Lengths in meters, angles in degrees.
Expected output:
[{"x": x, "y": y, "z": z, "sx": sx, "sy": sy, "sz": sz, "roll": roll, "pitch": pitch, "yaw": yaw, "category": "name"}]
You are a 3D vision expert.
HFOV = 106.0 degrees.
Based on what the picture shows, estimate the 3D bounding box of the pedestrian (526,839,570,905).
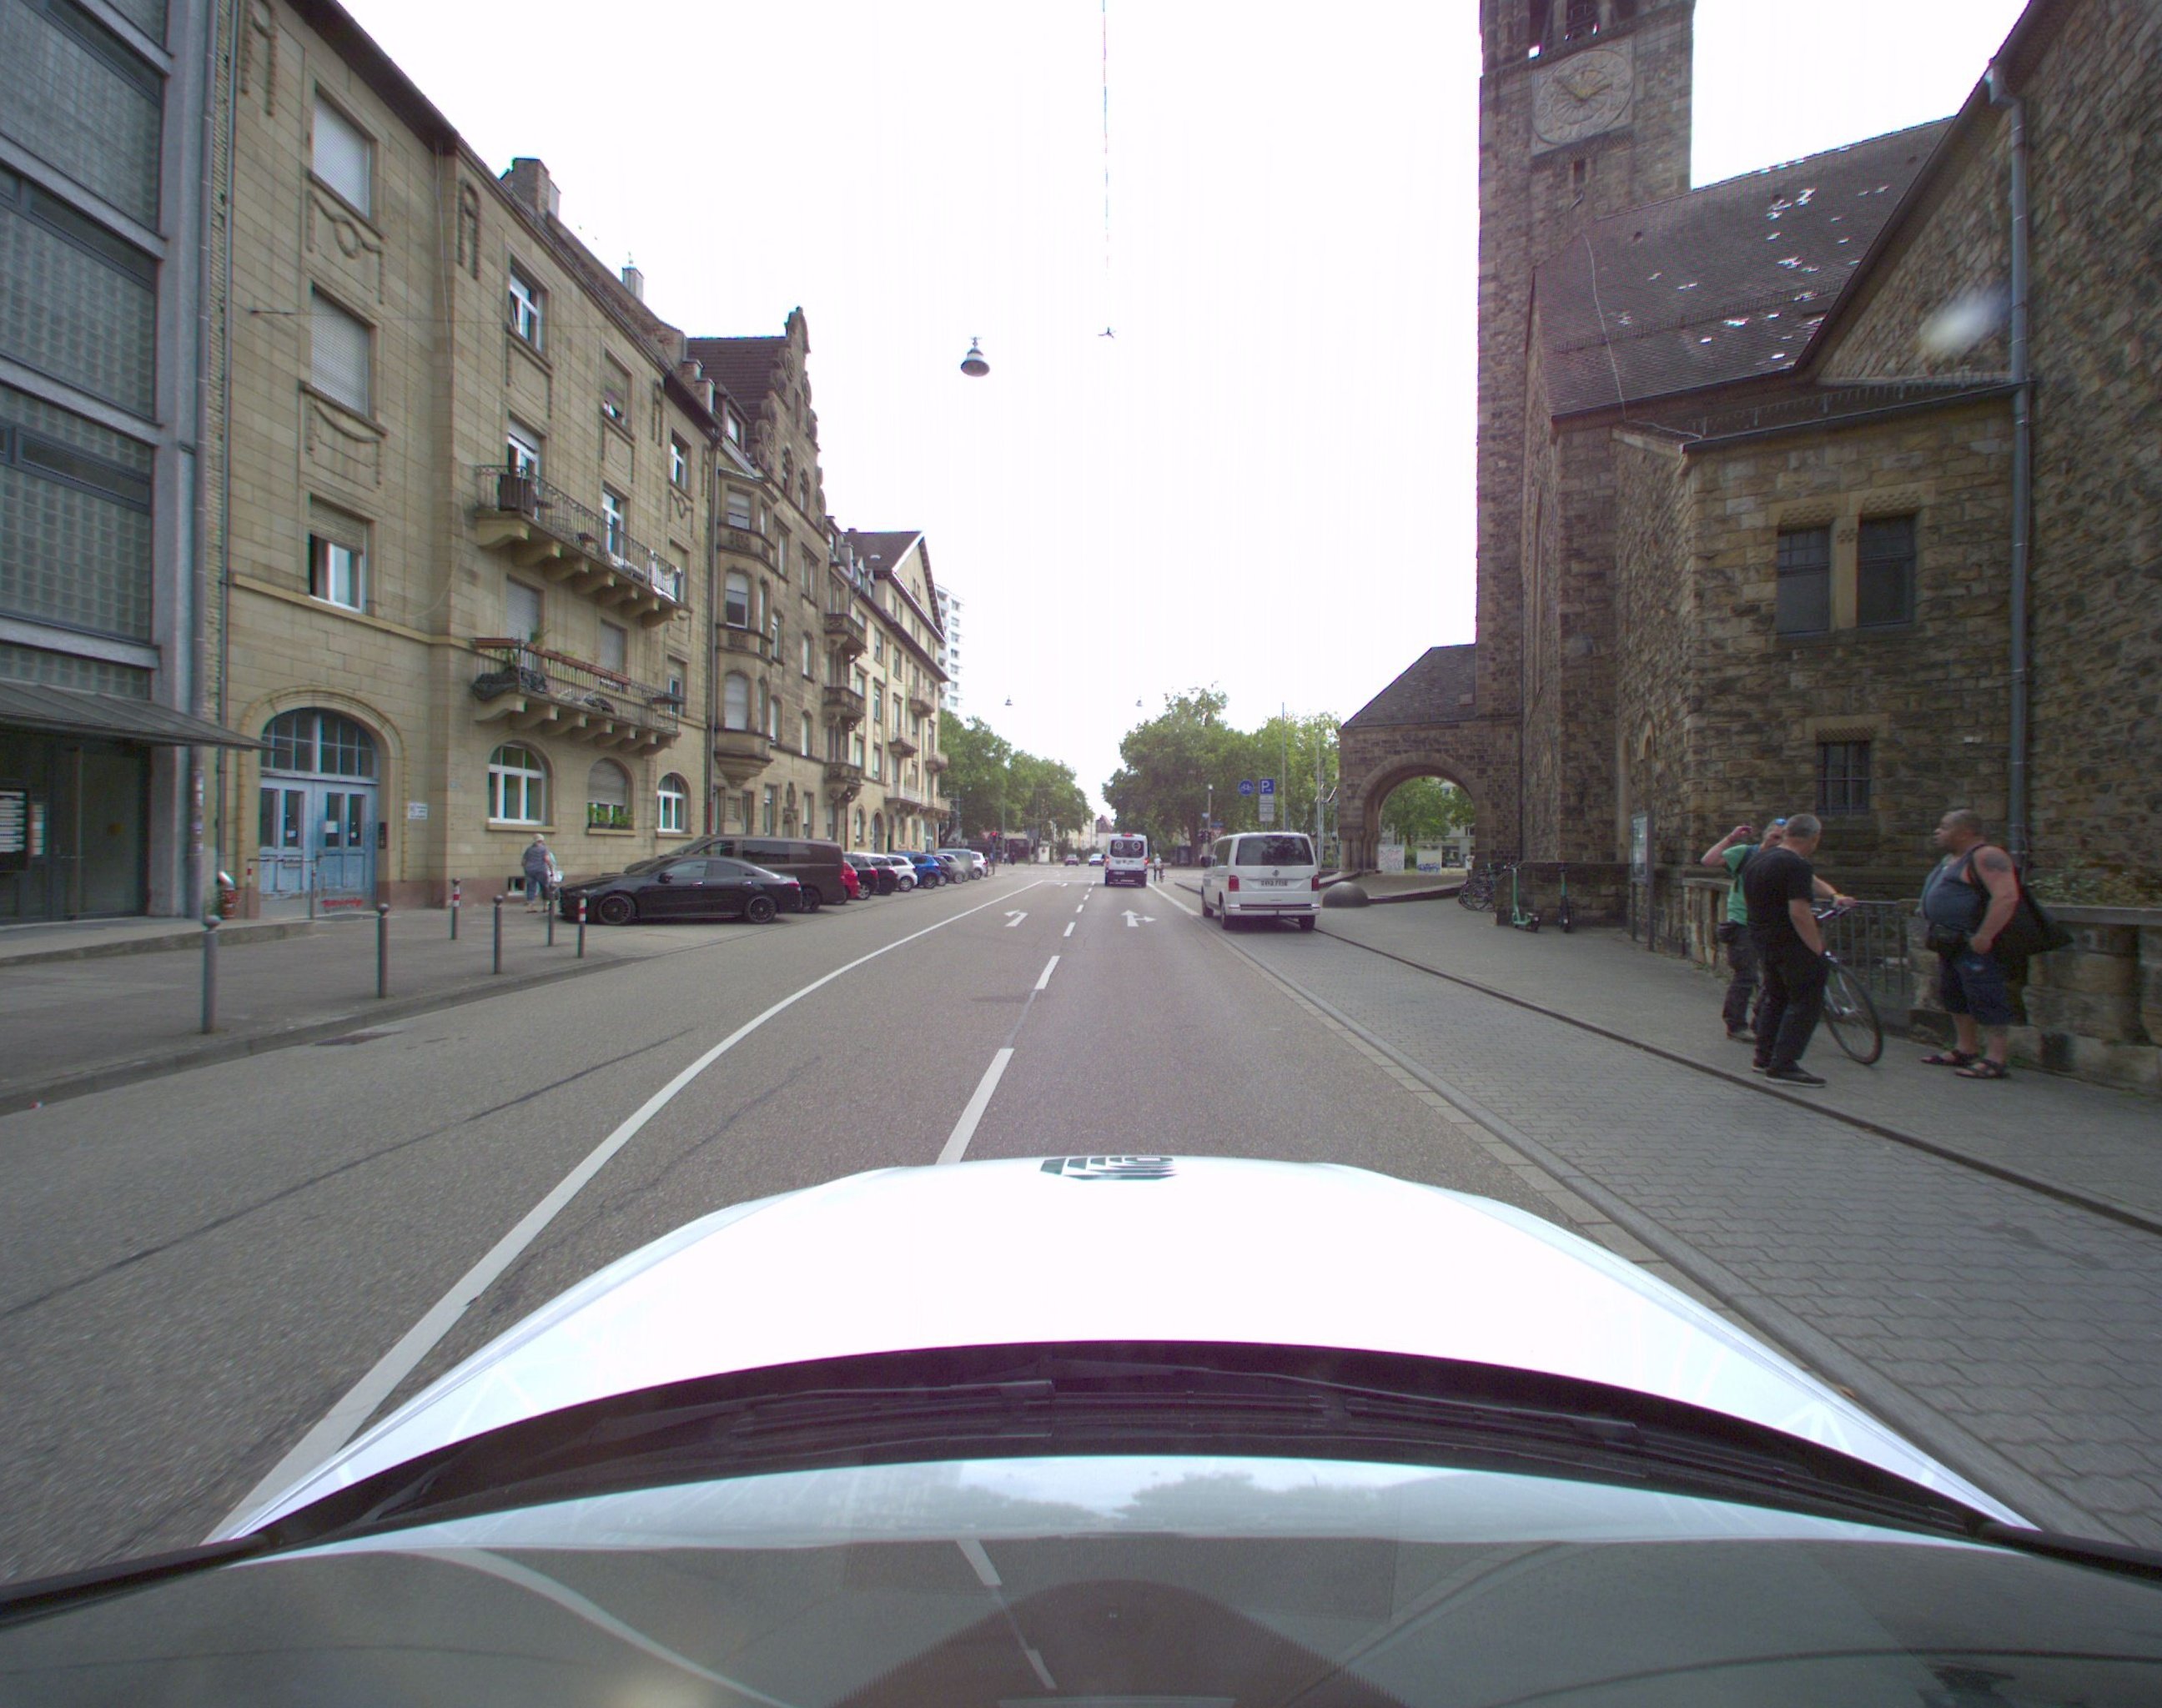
[{"x": -12.141, "y": 0.410, "z": 18.565, "sx": 0.658, "sy": 1.485, "sz": 0.509, "roll": 0, "pitch": 0, "yaw": -1, "category": "pedestrian"}]

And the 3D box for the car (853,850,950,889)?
[{"x": -7.895, "y": 0.663, "z": 35.892, "sx": 3.793, "sy": 1.652, "sz": 1.706, "roll": 1, "pitch": 0, "yaw": -35, "category": "car"}]

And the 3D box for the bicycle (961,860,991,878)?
[{"x": -6.645, "y": 0.921, "z": 51.442, "sx": 1.799, "sy": 1.120, "sz": 0.595, "roll": 0, "pitch": -1, "yaw": 8, "category": "bicycle"}]

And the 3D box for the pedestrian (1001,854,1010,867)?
[{"x": -9.109, "y": 0.738, "z": 98.200, "sx": 0.801, "sy": 1.572, "sz": 0.727, "roll": 0, "pitch": 0, "yaw": 16, "category": "pedestrian"}]

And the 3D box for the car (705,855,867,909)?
[{"x": -8.430, "y": 0.757, "z": 23.444, "sx": 4.032, "sy": 1.409, "sz": 1.776, "roll": 1, "pitch": 0, "yaw": -39, "category": "car"}]

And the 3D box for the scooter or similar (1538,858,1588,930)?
[{"x": 8.612, "y": 0.681, "z": 14.581, "sx": 0.539, "sy": 1.207, "sz": 1.489, "roll": 0, "pitch": 0, "yaw": 22, "category": "scooter or similar"}]

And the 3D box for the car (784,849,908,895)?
[{"x": -8.490, "y": 0.627, "z": 29.466, "sx": 4.024, "sy": 1.564, "sz": 1.779, "roll": 0, "pitch": 0, "yaw": -30, "category": "car"}]

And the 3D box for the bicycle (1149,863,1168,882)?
[{"x": 4.475, "y": 1.071, "z": 47.222, "sx": 0.900, "sy": 1.075, "sz": 1.969, "roll": 0, "pitch": 0, "yaw": -1, "category": "bicycle"}]

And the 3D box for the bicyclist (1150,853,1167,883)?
[{"x": 4.487, "y": 0.805, "z": 47.224, "sx": 0.901, "sy": 1.683, "sz": 0.756, "roll": 0, "pitch": 0, "yaw": -1, "category": "bicyclist"}]

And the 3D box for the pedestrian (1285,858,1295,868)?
[{"x": 26.827, "y": 1.155, "z": 104.494, "sx": 1.085, "sy": 1.236, "sz": 1.443, "roll": -2, "pitch": -1, "yaw": 6, "category": "pedestrian"}]

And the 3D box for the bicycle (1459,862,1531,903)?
[{"x": 11.666, "y": 0.798, "z": 22.979, "sx": 1.761, "sy": 1.112, "sz": 0.549, "roll": 0, "pitch": 0, "yaw": 20, "category": "bicycle"}]

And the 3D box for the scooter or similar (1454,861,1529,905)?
[{"x": 10.993, "y": 0.768, "z": 21.863, "sx": 1.761, "sy": 1.140, "sz": 0.549, "roll": 0, "pitch": 0, "yaw": 20, "category": "scooter or similar"}]

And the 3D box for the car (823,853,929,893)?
[{"x": -8.140, "y": 0.734, "z": 32.430, "sx": 3.700, "sy": 1.481, "sz": 1.723, "roll": 0, "pitch": 0, "yaw": -34, "category": "car"}]

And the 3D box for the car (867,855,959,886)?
[{"x": -7.985, "y": 0.765, "z": 38.834, "sx": 3.919, "sy": 1.443, "sz": 1.818, "roll": 0, "pitch": 0, "yaw": -34, "category": "car"}]

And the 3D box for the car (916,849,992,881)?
[{"x": -7.436, "y": 0.623, "z": 47.685, "sx": 4.030, "sy": 1.773, "sz": 1.777, "roll": 1, "pitch": 0, "yaw": -37, "category": "car"}]

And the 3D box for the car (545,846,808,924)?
[{"x": -8.505, "y": 0.689, "z": 17.340, "sx": 4.692, "sy": 1.409, "sz": 1.879, "roll": 3, "pitch": 0, "yaw": -37, "category": "car"}]

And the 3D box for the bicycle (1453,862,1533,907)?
[{"x": 10.483, "y": 0.763, "z": 20.769, "sx": 1.761, "sy": 1.112, "sz": 0.549, "roll": 0, "pitch": 0, "yaw": 20, "category": "bicycle"}]

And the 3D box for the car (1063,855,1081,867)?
[{"x": -1.110, "y": 0.835, "z": 104.763, "sx": 1.611, "sy": 1.476, "sz": 4.011, "roll": 0, "pitch": 0, "yaw": 10, "category": "car"}]

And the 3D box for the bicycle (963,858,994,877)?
[{"x": -6.565, "y": 0.871, "z": 52.112, "sx": 1.800, "sy": 1.120, "sz": 0.595, "roll": 4, "pitch": 0, "yaw": 5, "category": "bicycle"}]

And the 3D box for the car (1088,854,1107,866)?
[{"x": 2.116, "y": 0.747, "z": 103.789, "sx": 1.722, "sy": 1.592, "sz": 4.011, "roll": 0, "pitch": 0, "yaw": 10, "category": "car"}]

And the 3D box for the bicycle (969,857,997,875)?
[{"x": -6.650, "y": 0.820, "z": 55.283, "sx": 1.859, "sy": 1.167, "sz": 0.500, "roll": 2, "pitch": -1, "yaw": 22, "category": "bicycle"}]

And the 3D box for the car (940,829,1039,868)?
[{"x": -9.558, "y": -0.597, "z": 84.800, "sx": 9.793, "sy": 3.915, "sz": 3.476, "roll": 0, "pitch": 0, "yaw": 27, "category": "car"}]

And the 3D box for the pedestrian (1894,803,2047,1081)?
[{"x": 5.852, "y": 0.543, "z": 5.370, "sx": 0.509, "sy": 1.720, "sz": 0.528, "roll": 1, "pitch": 0, "yaw": -19, "category": "pedestrian"}]

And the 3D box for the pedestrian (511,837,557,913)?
[{"x": -11.291, "y": 0.423, "z": 16.834, "sx": 0.651, "sy": 1.545, "sz": 0.506, "roll": 1, "pitch": 0, "yaw": -17, "category": "pedestrian"}]

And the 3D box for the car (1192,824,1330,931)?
[{"x": 3.799, "y": 0.427, "z": 18.183, "sx": 2.007, "sy": 2.029, "sz": 5.124, "roll": -1, "pitch": 0, "yaw": 1, "category": "car"}]

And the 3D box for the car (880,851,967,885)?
[{"x": -8.020, "y": 0.673, "z": 41.672, "sx": 4.030, "sy": 1.652, "sz": 1.777, "roll": 1, "pitch": 0, "yaw": -37, "category": "car"}]

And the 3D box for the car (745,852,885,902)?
[{"x": -8.490, "y": 0.695, "z": 26.109, "sx": 4.012, "sy": 1.503, "sz": 1.615, "roll": 0, "pitch": 0, "yaw": -33, "category": "car"}]

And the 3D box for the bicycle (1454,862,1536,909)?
[{"x": 10.240, "y": 0.762, "z": 20.197, "sx": 1.754, "sy": 1.112, "sz": 0.549, "roll": 0, "pitch": 0, "yaw": 20, "category": "bicycle"}]

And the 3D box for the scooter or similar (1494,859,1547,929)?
[{"x": 8.012, "y": 0.701, "z": 14.891, "sx": 0.540, "sy": 1.207, "sz": 1.448, "roll": 0, "pitch": 0, "yaw": 15, "category": "scooter or similar"}]

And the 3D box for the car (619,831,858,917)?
[{"x": -8.552, "y": 0.463, "z": 20.550, "sx": 5.290, "sy": 1.910, "sz": 2.100, "roll": 0, "pitch": 0, "yaw": -33, "category": "car"}]

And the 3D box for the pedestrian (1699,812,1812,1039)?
[{"x": 5.382, "y": 0.542, "z": 6.510, "sx": 0.532, "sy": 1.720, "sz": 0.506, "roll": 1, "pitch": 0, "yaw": -21, "category": "pedestrian"}]

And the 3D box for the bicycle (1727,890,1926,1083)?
[{"x": 5.452, "y": 0.879, "z": 6.080, "sx": 0.528, "sy": 1.150, "sz": 1.762, "roll": 0, "pitch": 0, "yaw": 22, "category": "bicycle"}]

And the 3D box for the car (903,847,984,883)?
[{"x": -7.529, "y": 0.583, "z": 44.767, "sx": 4.030, "sy": 1.879, "sz": 1.777, "roll": 1, "pitch": 0, "yaw": -37, "category": "car"}]

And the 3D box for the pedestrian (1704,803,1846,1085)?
[{"x": 4.503, "y": 0.550, "z": 5.301, "sx": 0.509, "sy": 1.720, "sz": 0.528, "roll": 1, "pitch": 0, "yaw": -21, "category": "pedestrian"}]

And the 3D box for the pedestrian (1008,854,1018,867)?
[{"x": -8.183, "y": 0.766, "z": 98.049, "sx": 0.922, "sy": 1.514, "sz": 0.727, "roll": 0, "pitch": 0, "yaw": 16, "category": "pedestrian"}]

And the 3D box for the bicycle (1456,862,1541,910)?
[{"x": 10.020, "y": 0.760, "z": 19.582, "sx": 1.761, "sy": 1.112, "sz": 0.549, "roll": 0, "pitch": 0, "yaw": 20, "category": "bicycle"}]

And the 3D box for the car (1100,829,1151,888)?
[{"x": 2.127, "y": 0.186, "z": 40.253, "sx": 2.174, "sy": 2.647, "sz": 4.629, "roll": 3, "pitch": 1, "yaw": 1, "category": "car"}]
